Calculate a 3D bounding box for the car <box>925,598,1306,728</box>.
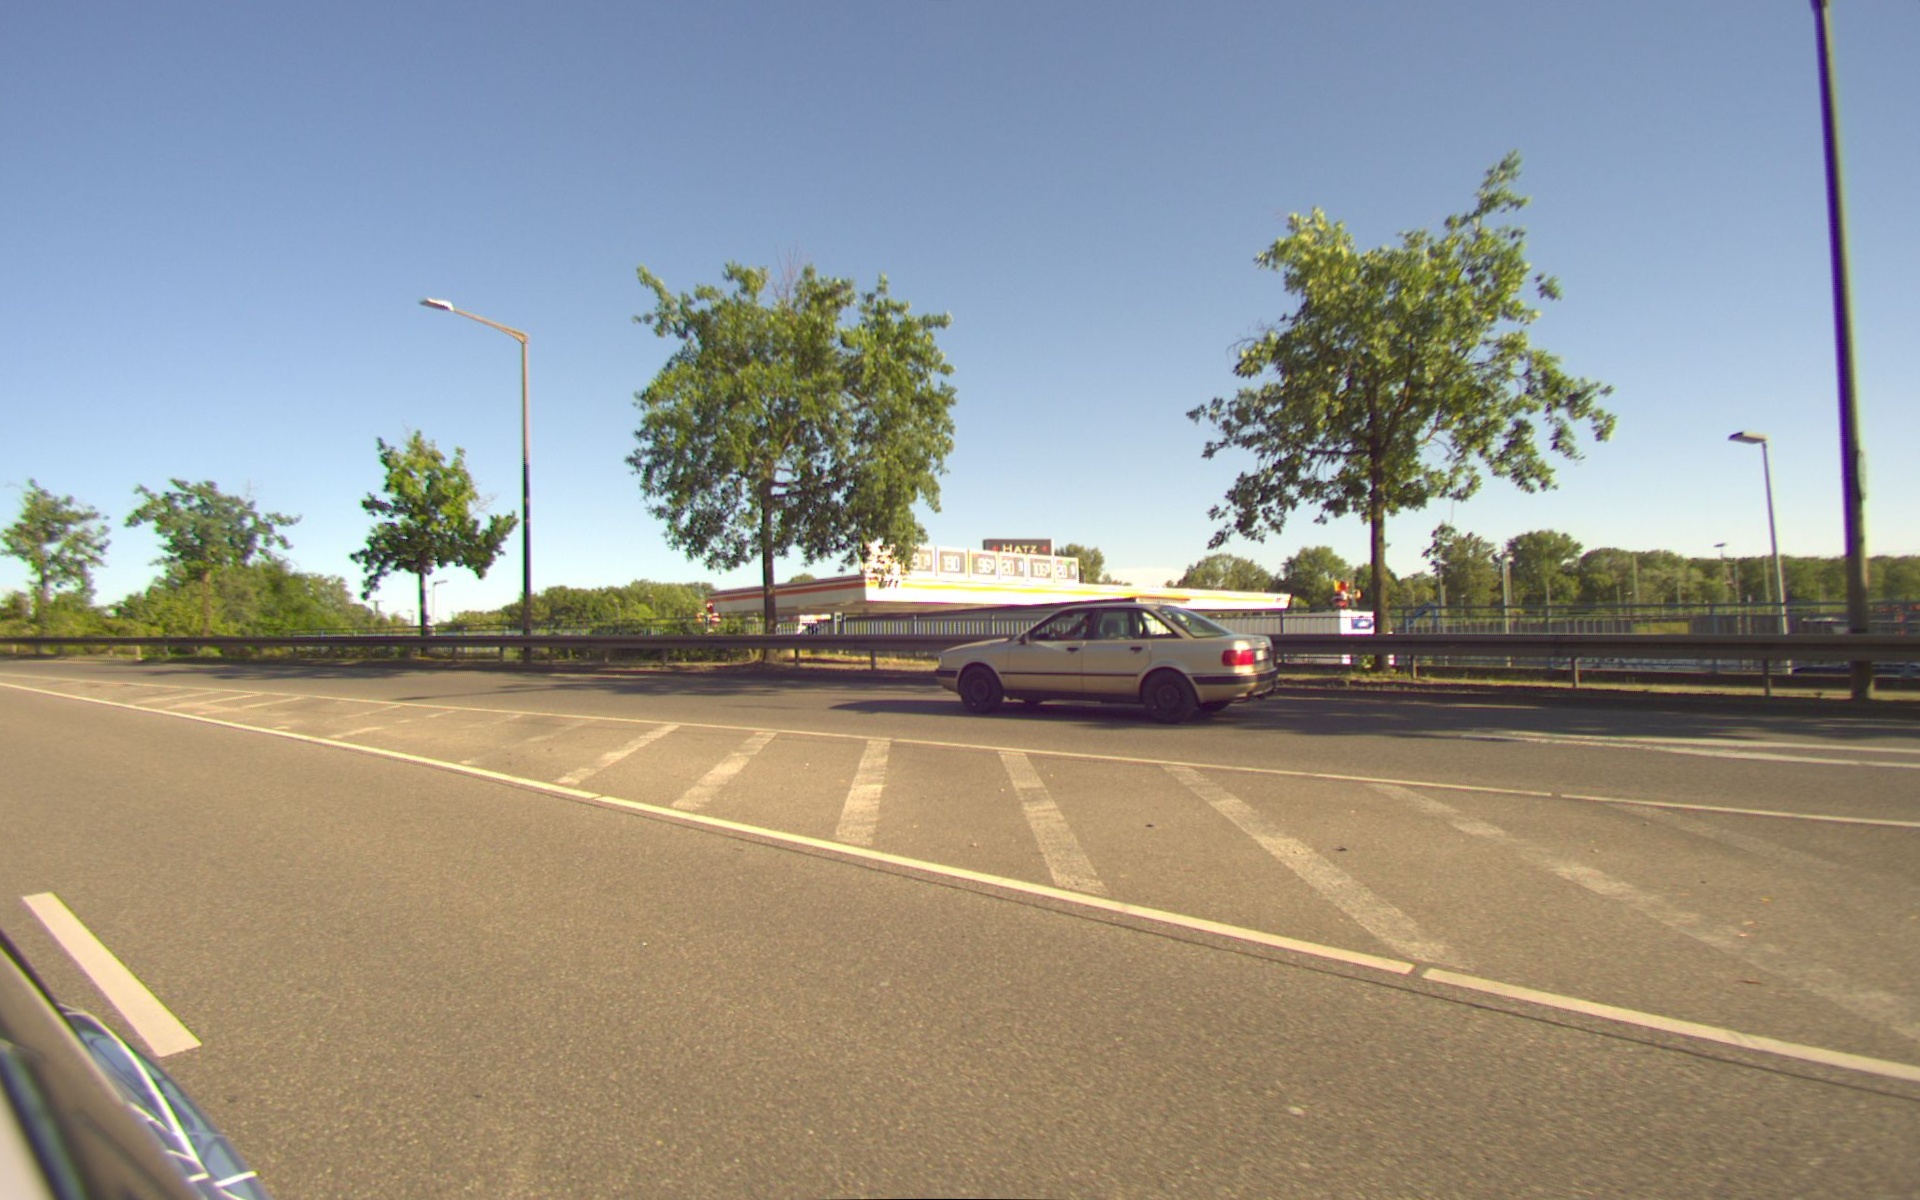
[{"bbox_3d":[1.880,0.732,12.866,4.483,1.396,1.716,-2,-1,33],"label":"car"}]
